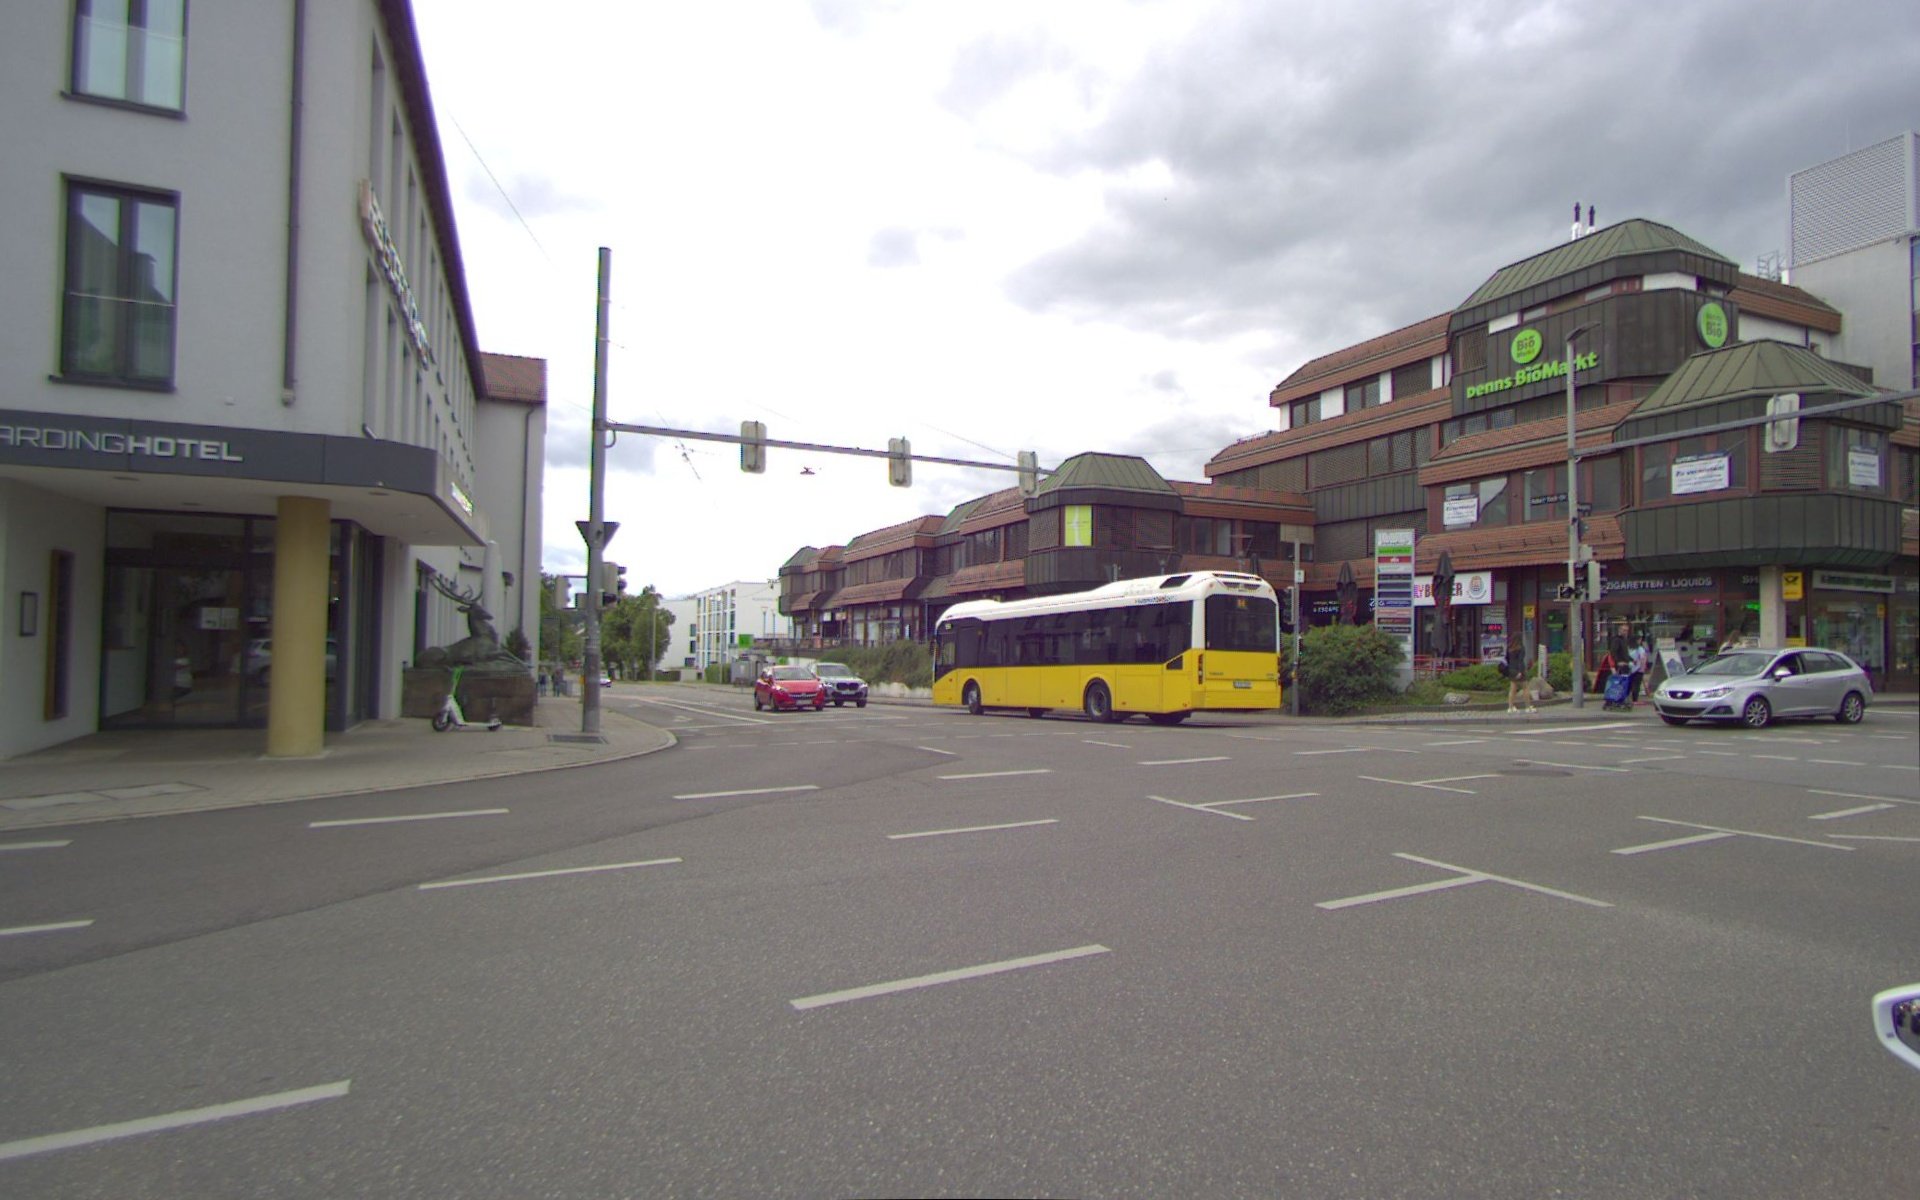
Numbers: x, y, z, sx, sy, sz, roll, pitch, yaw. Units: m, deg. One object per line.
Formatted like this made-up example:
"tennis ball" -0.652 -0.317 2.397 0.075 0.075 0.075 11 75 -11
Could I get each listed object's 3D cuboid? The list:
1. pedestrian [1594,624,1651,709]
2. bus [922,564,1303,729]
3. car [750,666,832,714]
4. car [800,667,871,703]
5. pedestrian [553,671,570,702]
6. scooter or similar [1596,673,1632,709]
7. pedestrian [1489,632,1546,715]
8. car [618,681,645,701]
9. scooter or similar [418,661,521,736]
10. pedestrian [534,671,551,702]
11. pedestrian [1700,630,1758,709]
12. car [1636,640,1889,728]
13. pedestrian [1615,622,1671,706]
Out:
"pedestrian" 14.579 1.446 22.113 0.737 1.832 0.806 1 -1 -31
"bus" 3.154 1.411 26.572 2.962 3.370 12.212 2 -5 -30
"car" -5.636 2.943 33.229 1.790 1.505 3.979 2 -5 -23
"car" -4.743 3.201 38.063 1.775 1.295 3.499 2 -5 -23
"pedestrian" -22.572 4.879 56.890 0.851 1.674 0.859 1 -2 -21
"scooter or similar" 14.098 1.964 21.652 0.532 0.736 0.452 1 -2 -31
"pedestrian" 12.054 1.585 21.736 0.797 1.736 0.702 -2 -1 -2
"car" -20.735 5.725 63.275 1.321 1.179 2.977 1 -5 -24
"scooter or similar" -8.106 1.626 16.675 0.418 1.173 1.574 0 -5 25
"pedestrian" -23.449 4.847 56.470 0.851 1.674 0.859 1 -2 -21
"pedestrian" 17.140 1.536 22.394 0.768 1.715 0.746 1 -2 -28
"car" 15.176 1.552 19.026 4.130 1.436 1.635 -1 -3 -17
"pedestrian" 15.315 1.412 22.532 0.766 1.832 0.806 1 -1 -31
